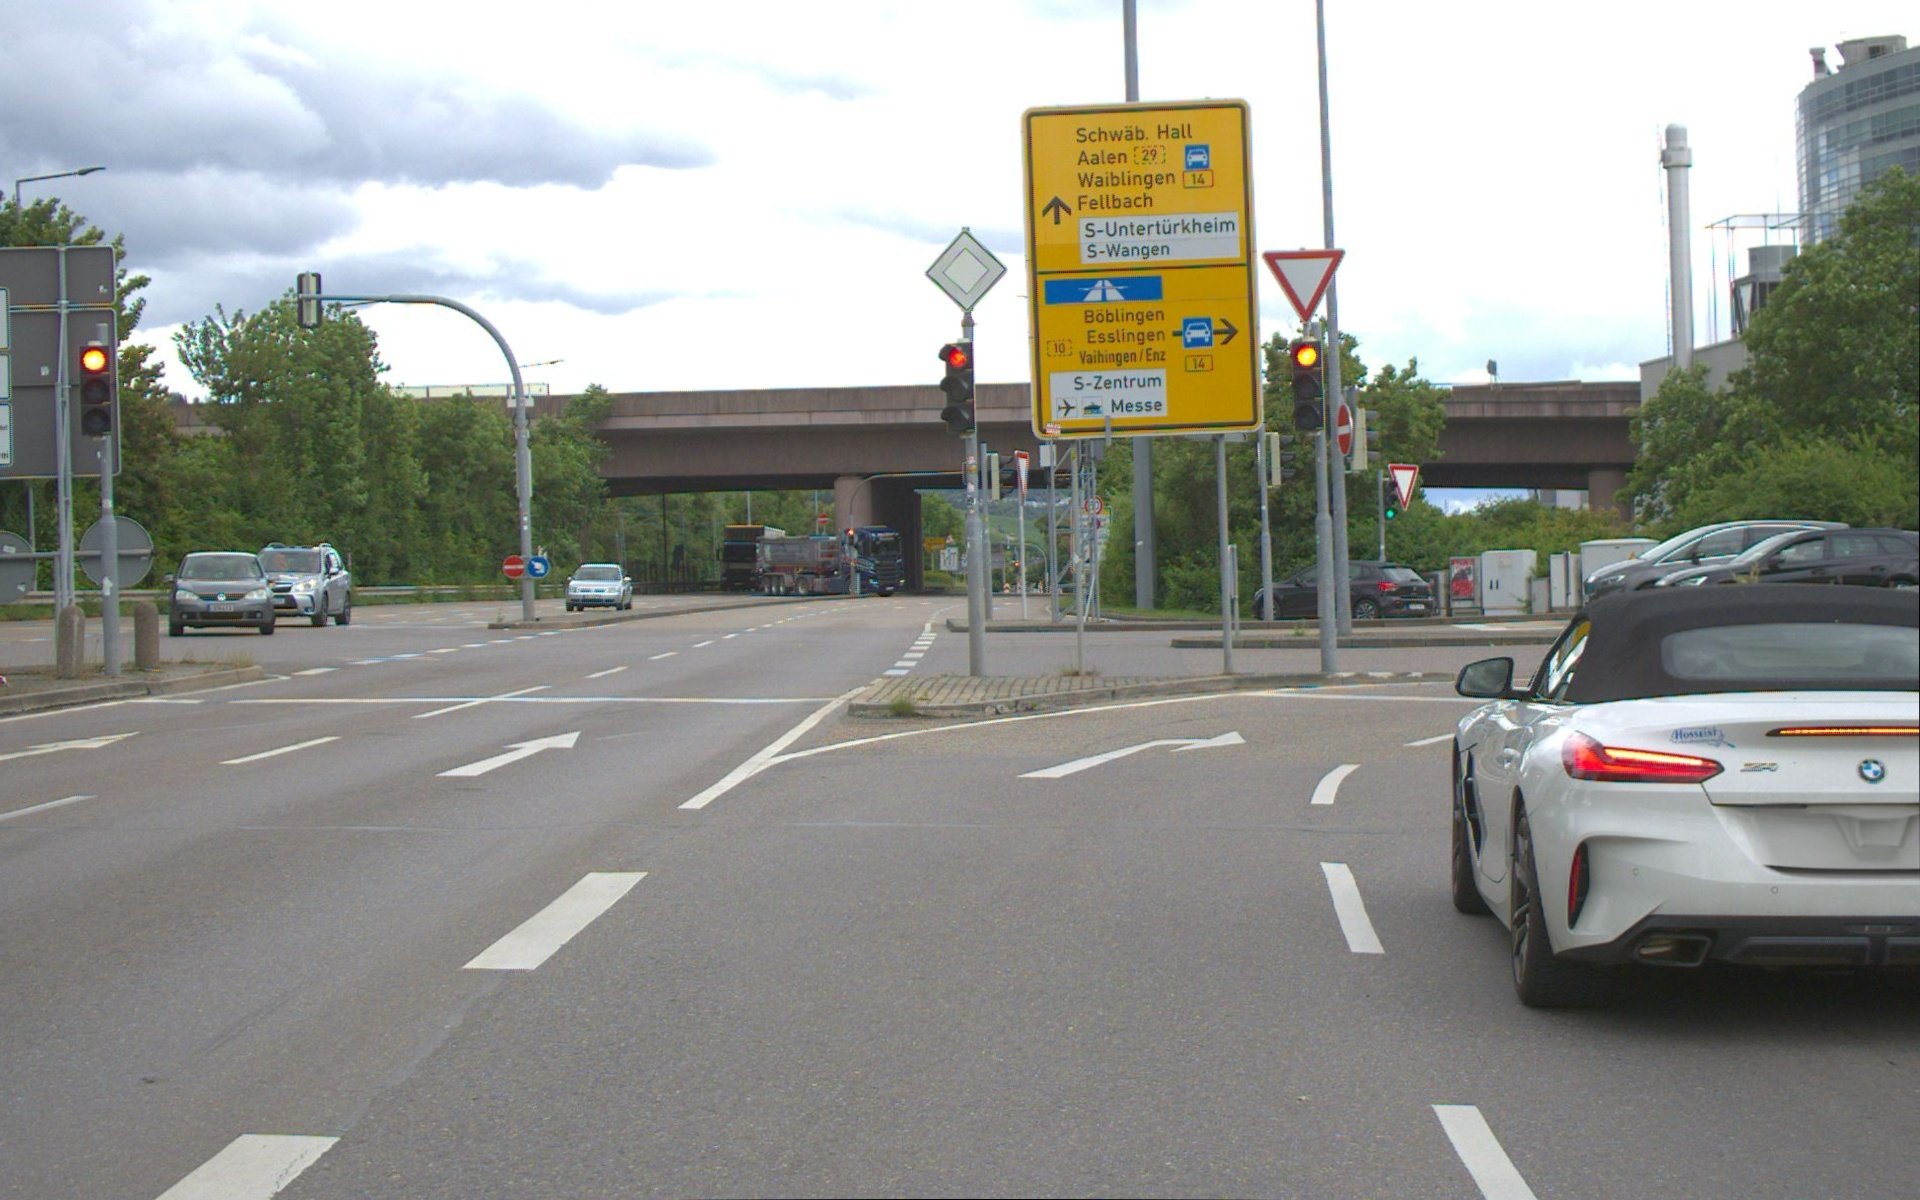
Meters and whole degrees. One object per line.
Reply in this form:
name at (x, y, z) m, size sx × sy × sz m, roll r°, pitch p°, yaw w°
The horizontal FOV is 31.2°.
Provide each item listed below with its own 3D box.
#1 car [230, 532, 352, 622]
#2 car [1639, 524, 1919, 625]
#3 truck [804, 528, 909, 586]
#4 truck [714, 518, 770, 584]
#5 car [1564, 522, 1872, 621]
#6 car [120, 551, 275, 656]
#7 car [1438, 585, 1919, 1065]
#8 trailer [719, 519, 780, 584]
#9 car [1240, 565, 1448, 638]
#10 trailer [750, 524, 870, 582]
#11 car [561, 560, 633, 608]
car at (-13.655, -0.490, 70.367) m, size 1.724 × 1.731 × 4.556 m, roll -1°, pitch 1°, yaw -2°
car at (13.006, -0.411, 53.010) m, size 4.605 × 1.452 × 1.956 m, roll -1°, pitch 2°, yaw -4°
truck at (-5.221, -2.175, 172.551) m, size 2.612 × 2.615 × 5.780 m, roll 3°, pitch 1°, yaw -32°
truck at (-13.818, -3.117, 218.544) m, size 2.872 × 4.070 × 6.487 m, roll 1°, pitch 1°, yaw 2°
car at (12.612, -0.487, 57.356) m, size 4.678 × 1.566 × 1.956 m, roll -1°, pitch 2°, yaw -1°
car at (-13.246, 0.095, 59.580) m, size 1.724 × 1.457 × 4.244 m, roll 3°, pitch -5°, yaw -25°
car at (2.686, 0.627, 11.819) m, size 1.805 × 1.287 × 4.263 m, roll 0°, pitch 1°, yaw 4°
trailer at (-13.657, -3.208, 224.106) m, size 2.872 × 4.070 × 11.426 m, roll 1°, pitch 1°, yaw 2°
car at (8.072, 0.056, 72.517) m, size 1.994 × 1.459 × 4.108 m, roll 1°, pitch -2°, yaw -41°
trailer at (-7.766, -2.450, 176.648) m, size 2.601 × 2.615 × 8.571 m, roll 3°, pitch 1°, yaw -28°
car at (-11.058, -0.496, 104.915) m, size 1.724 × 1.396 × 4.066 m, roll -1°, pitch 1°, yaw 0°
